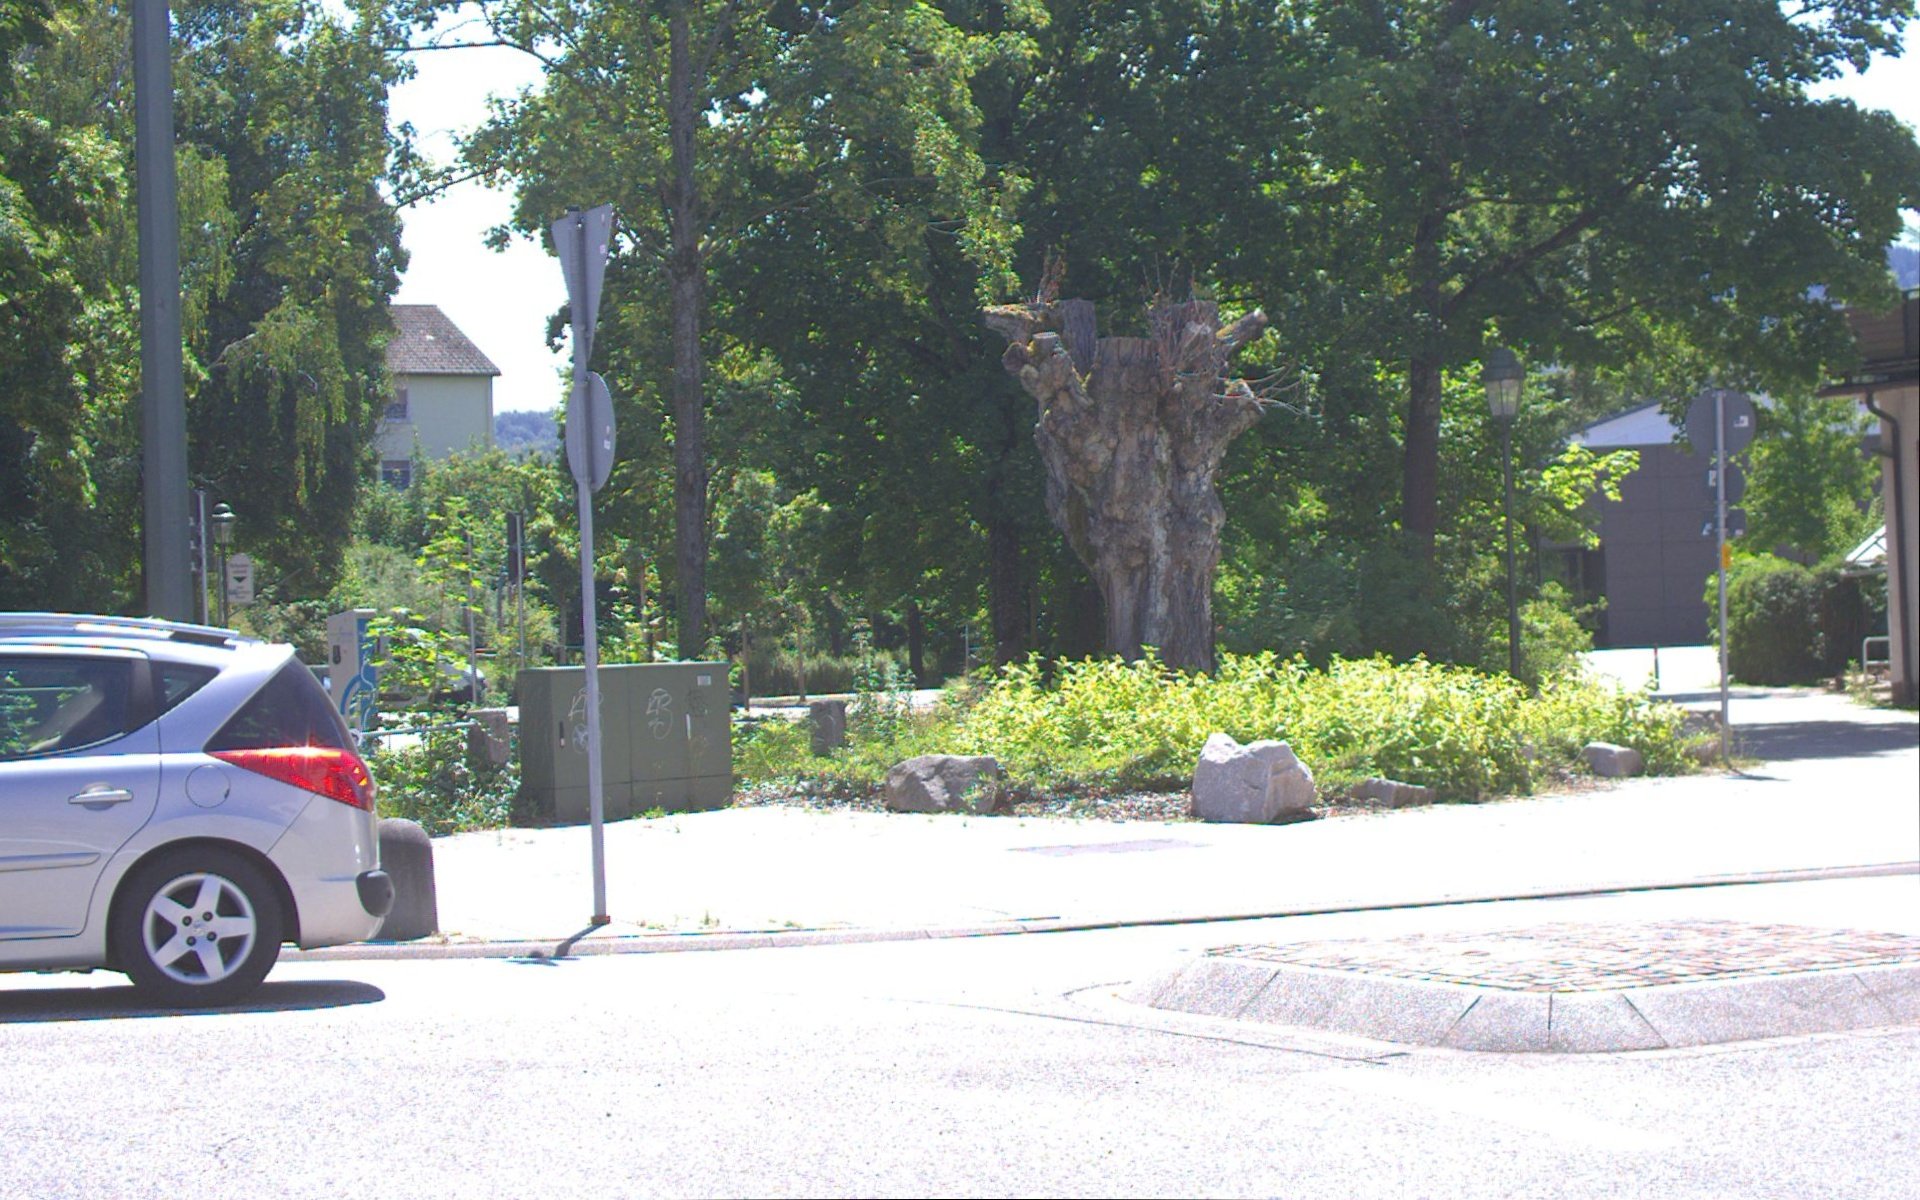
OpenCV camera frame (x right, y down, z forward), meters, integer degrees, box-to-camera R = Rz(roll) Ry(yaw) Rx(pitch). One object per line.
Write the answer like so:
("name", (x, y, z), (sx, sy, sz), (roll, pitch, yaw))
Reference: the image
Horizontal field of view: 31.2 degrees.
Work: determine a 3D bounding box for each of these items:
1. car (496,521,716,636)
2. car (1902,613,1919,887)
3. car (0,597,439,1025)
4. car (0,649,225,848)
("car", (-6.642, -0.401, 64.623), (3.986, 2.007, 2.000), (-2, 0, -6))
("car", (6.910, 0.683, 18.027), (3.706, 1.408, 1.549), (-2, -3, -30))
("car", (-4.242, 0.809, 13.174), (4.193, 1.511, 1.746), (-2, 0, -17))
("car", (-8.016, 1.252, 29.154), (1.633, 1.547, 3.051), (-2, 0, 45))
